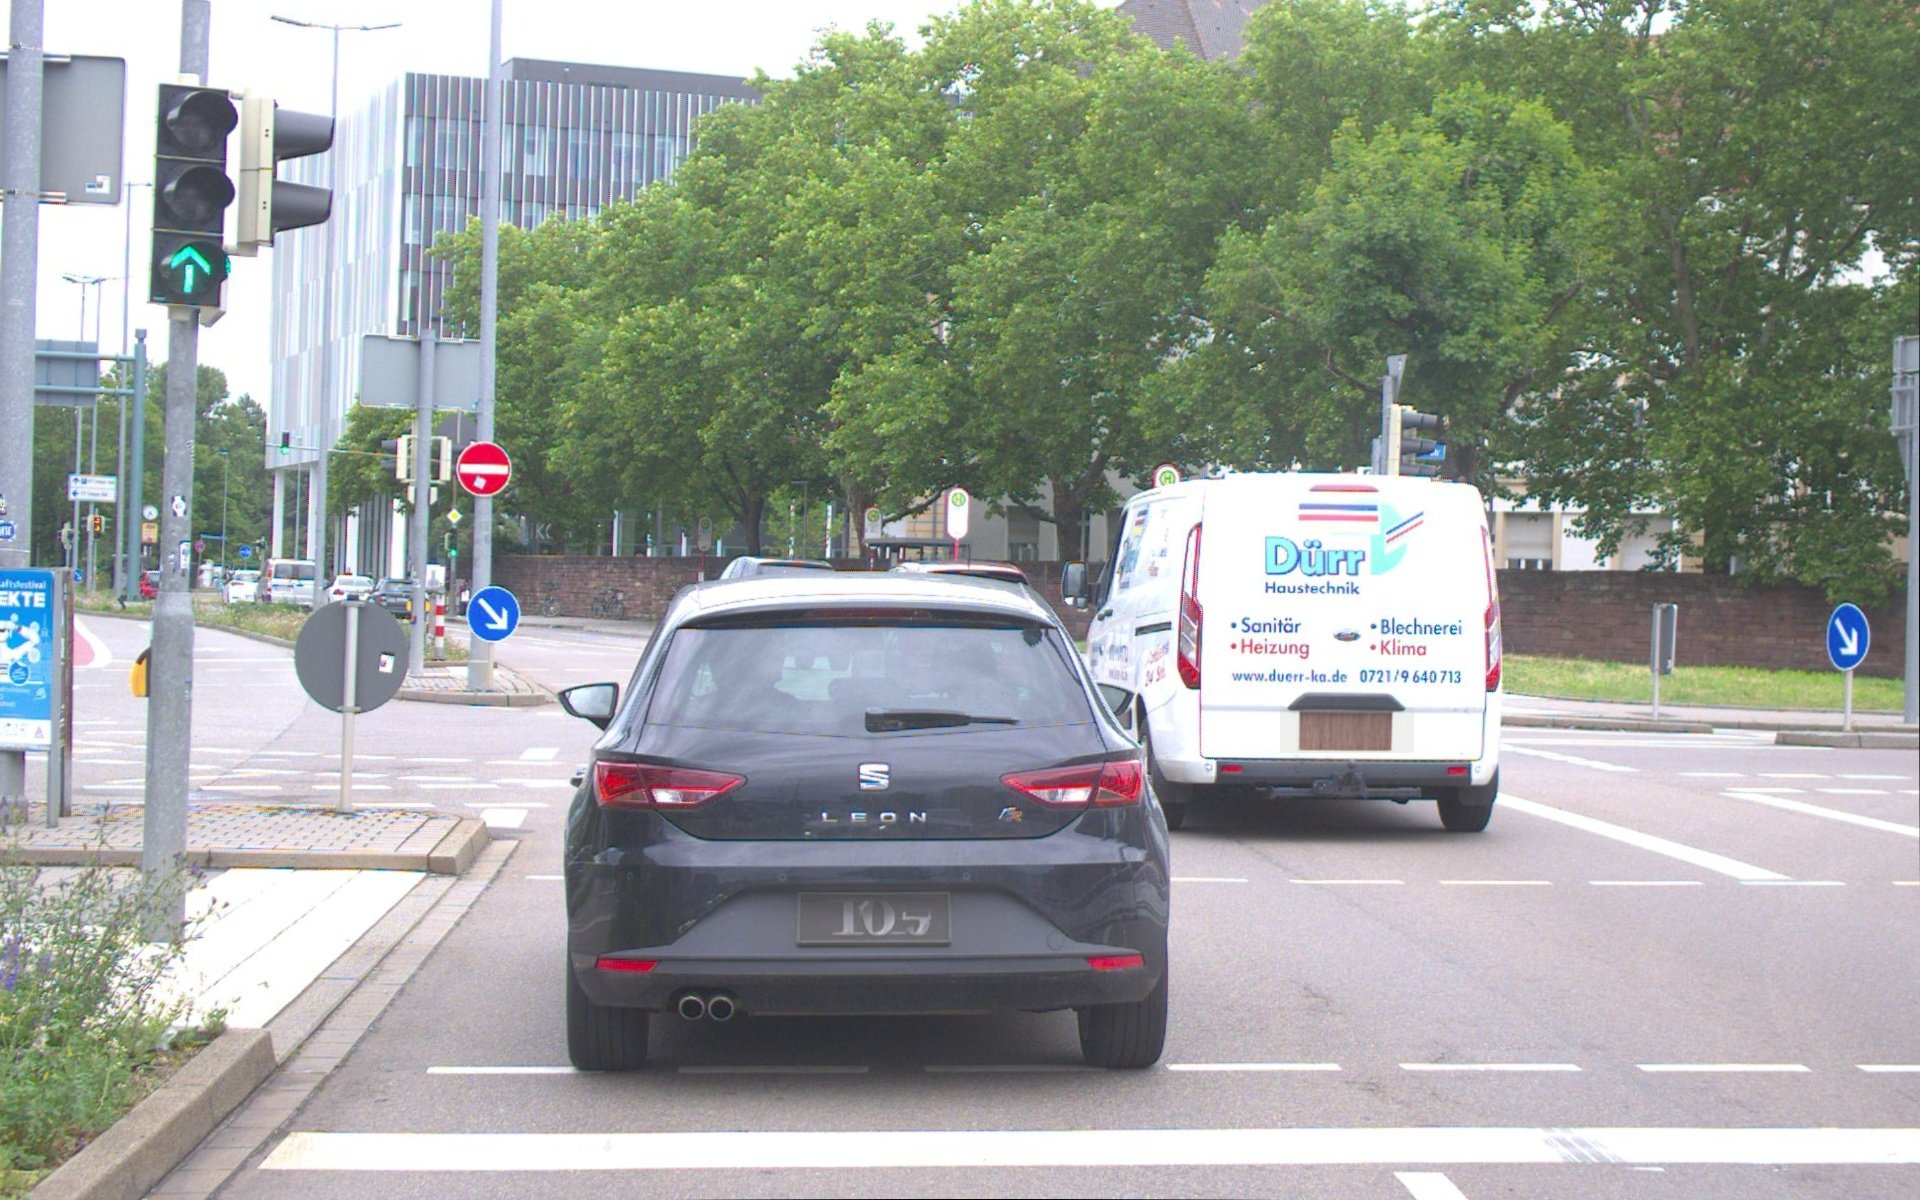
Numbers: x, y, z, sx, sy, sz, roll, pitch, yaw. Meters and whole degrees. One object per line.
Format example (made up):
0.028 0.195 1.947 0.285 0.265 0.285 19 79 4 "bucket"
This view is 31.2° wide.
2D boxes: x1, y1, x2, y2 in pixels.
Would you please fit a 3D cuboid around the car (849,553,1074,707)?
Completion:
-0.042 0.307 38.772 1.857 1.595 4.206 2 0 -9 "car"

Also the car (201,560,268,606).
-26.779 -0.637 126.795 1.993 1.634 4.001 2 0 -18 "car"

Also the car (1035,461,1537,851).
1.789 0.281 20.699 1.993 2.012 5.033 2 0 -6 "car"

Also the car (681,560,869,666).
-2.988 0.182 54.707 1.993 1.560 4.206 2 0 -17 "car"

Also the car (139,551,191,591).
-35.214 -1.305 152.266 1.993 1.676 4.011 2 0 -16 "car"

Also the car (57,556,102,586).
-39.774 -1.330 155.221 1.711 1.261 3.341 2 0 -18 "car"

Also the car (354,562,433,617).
-18.088 -0.342 109.709 1.917 1.678 4.001 2 0 -17 "car"

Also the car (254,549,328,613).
-21.958 -0.630 112.753 1.993 2.007 4.001 2 0 -16 "car"

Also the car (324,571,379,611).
-21.344 -0.324 120.524 1.525 1.360 2.970 2 0 -16 "car"

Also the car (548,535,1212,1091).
-0.333 0.589 11.112 1.745 1.459 4.000 1 -1 -4 "car"
